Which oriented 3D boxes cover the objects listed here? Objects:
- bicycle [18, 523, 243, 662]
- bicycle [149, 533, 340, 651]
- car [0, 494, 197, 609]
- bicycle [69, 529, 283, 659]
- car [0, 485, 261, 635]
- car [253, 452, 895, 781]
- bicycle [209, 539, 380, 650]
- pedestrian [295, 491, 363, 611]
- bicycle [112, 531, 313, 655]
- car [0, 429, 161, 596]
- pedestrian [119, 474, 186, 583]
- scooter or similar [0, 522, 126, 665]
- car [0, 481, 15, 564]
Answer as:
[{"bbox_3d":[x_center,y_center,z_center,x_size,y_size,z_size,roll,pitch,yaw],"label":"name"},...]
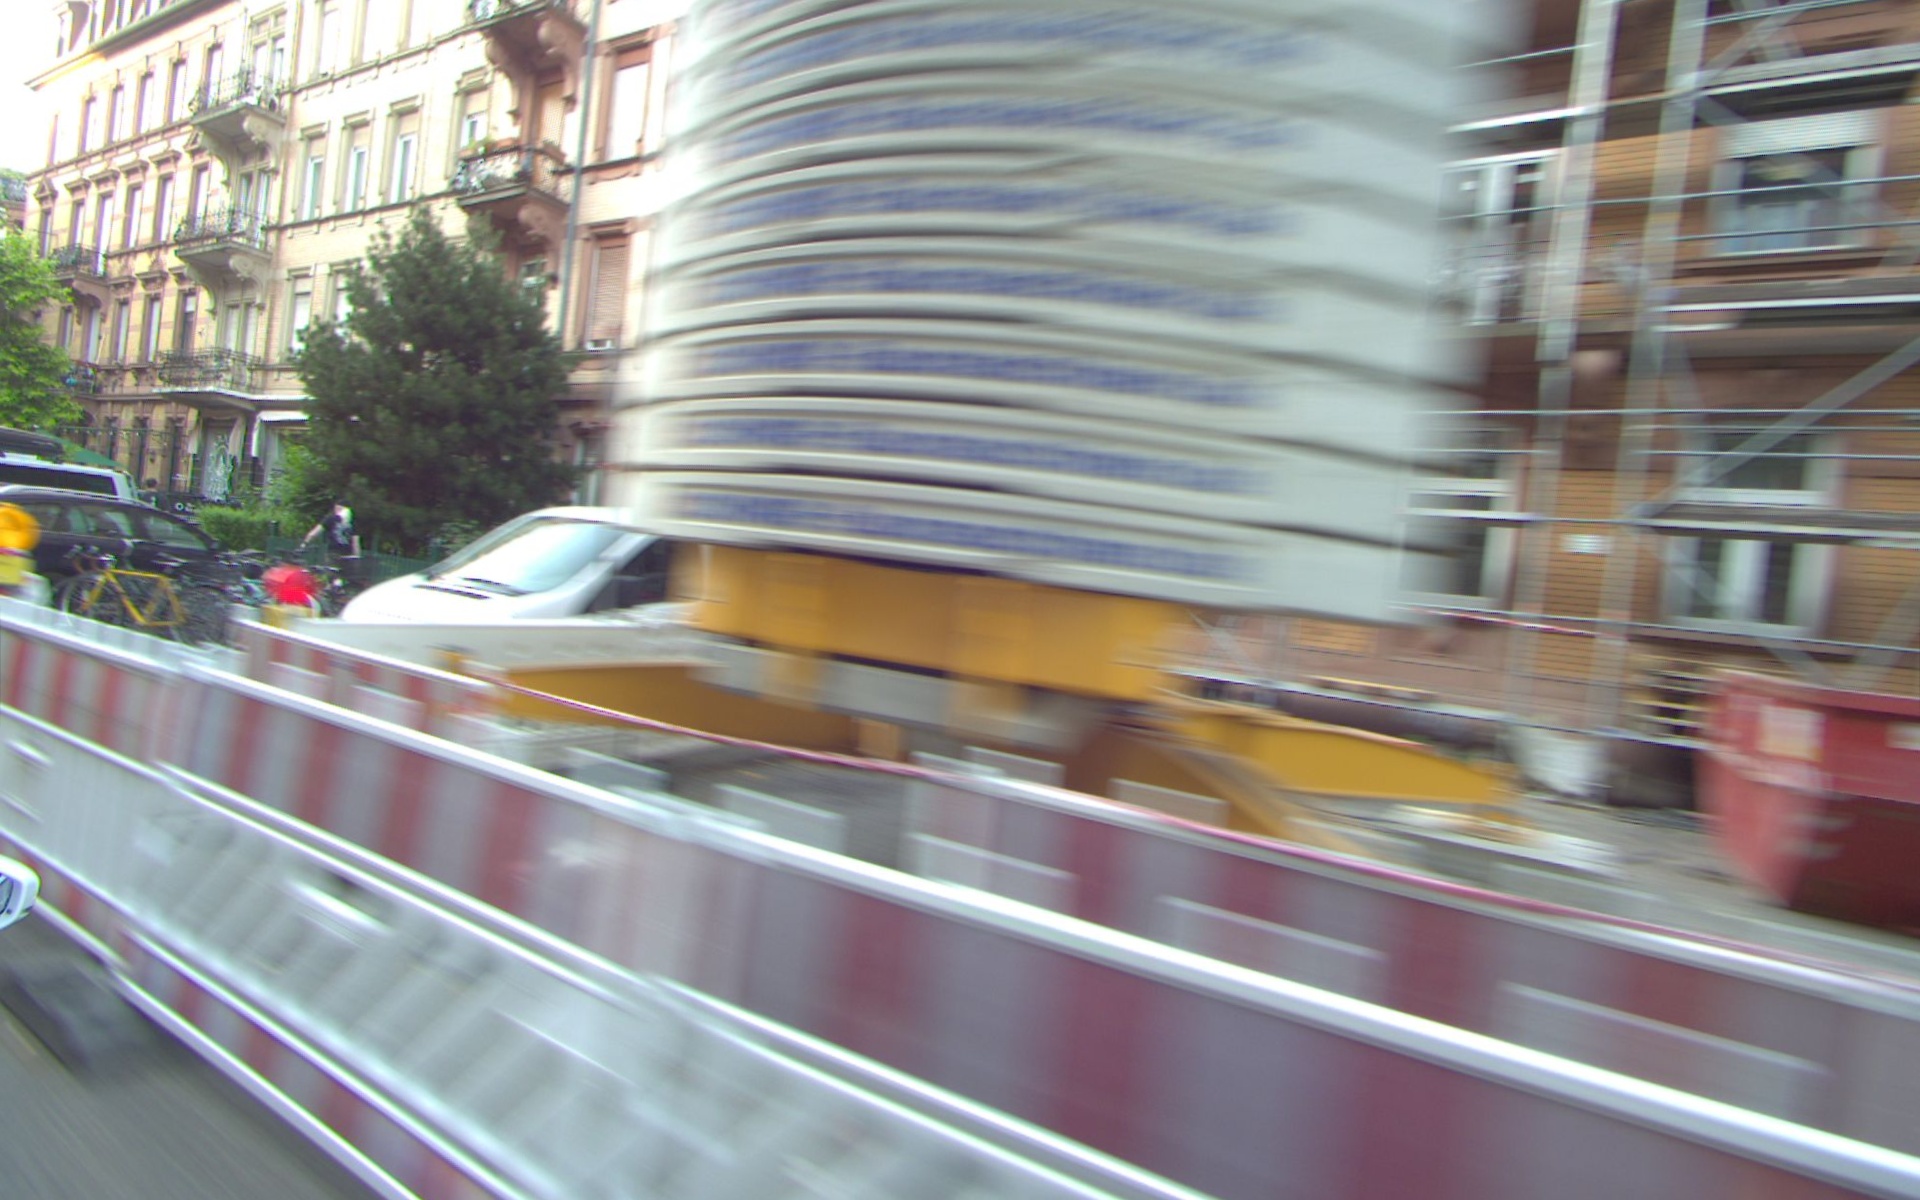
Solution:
[{"bbox_3d":[-8.344,-0.075,10.153,1.781,1.151,0.496,7,2,0],"label":"bicycle"},{"bbox_3d":[-8.441,-0.093,11.905,1.781,1.151,0.496,7,2,-3],"label":"bicycle"},{"bbox_3d":[-12.779,-0.684,13.736,1.726,1.426,3.866,6,0,-1],"label":"car"},{"bbox_3d":[-8.372,-0.063,10.784,1.781,1.151,0.496,7,2,-3],"label":"bicycle"},{"bbox_3d":[-10.573,-0.495,11.702,1.813,1.535,3.868,7,0,6],"label":"car"},{"bbox_3d":[-2.902,0.131,8.966,1.867,1.981,5.175,8,2,31],"label":"car"},{"bbox_3d":[-8.300,-0.074,12.573,1.780,1.151,0.496,7,2,4],"label":"bicycle"},{"bbox_3d":[-9.796,-0.758,15.606,0.681,1.773,0.816,3,3,-43],"label":"pedestrian"},{"bbox_3d":[-8.412,-0.078,11.360,1.781,1.151,0.496,7,2,-3],"label":"bicycle"},{"bbox_3d":[-14.983,-1.404,14.832,1.962,2.392,4.940,7,0,6],"label":"car"},{"bbox_3d":[-15.931,-1.407,19.847,0.644,2.037,0.625,6,-1,27],"label":"pedestrian"},{"bbox_3d":[-8.735,-0.092,9.338,1.456,1.165,0.656,7,2,8],"label":"scooter or similar"},{"bbox_3d":[-19.611,-1.558,17.731,1.851,1.611,4.162,7,2,1],"label":"car"}]
